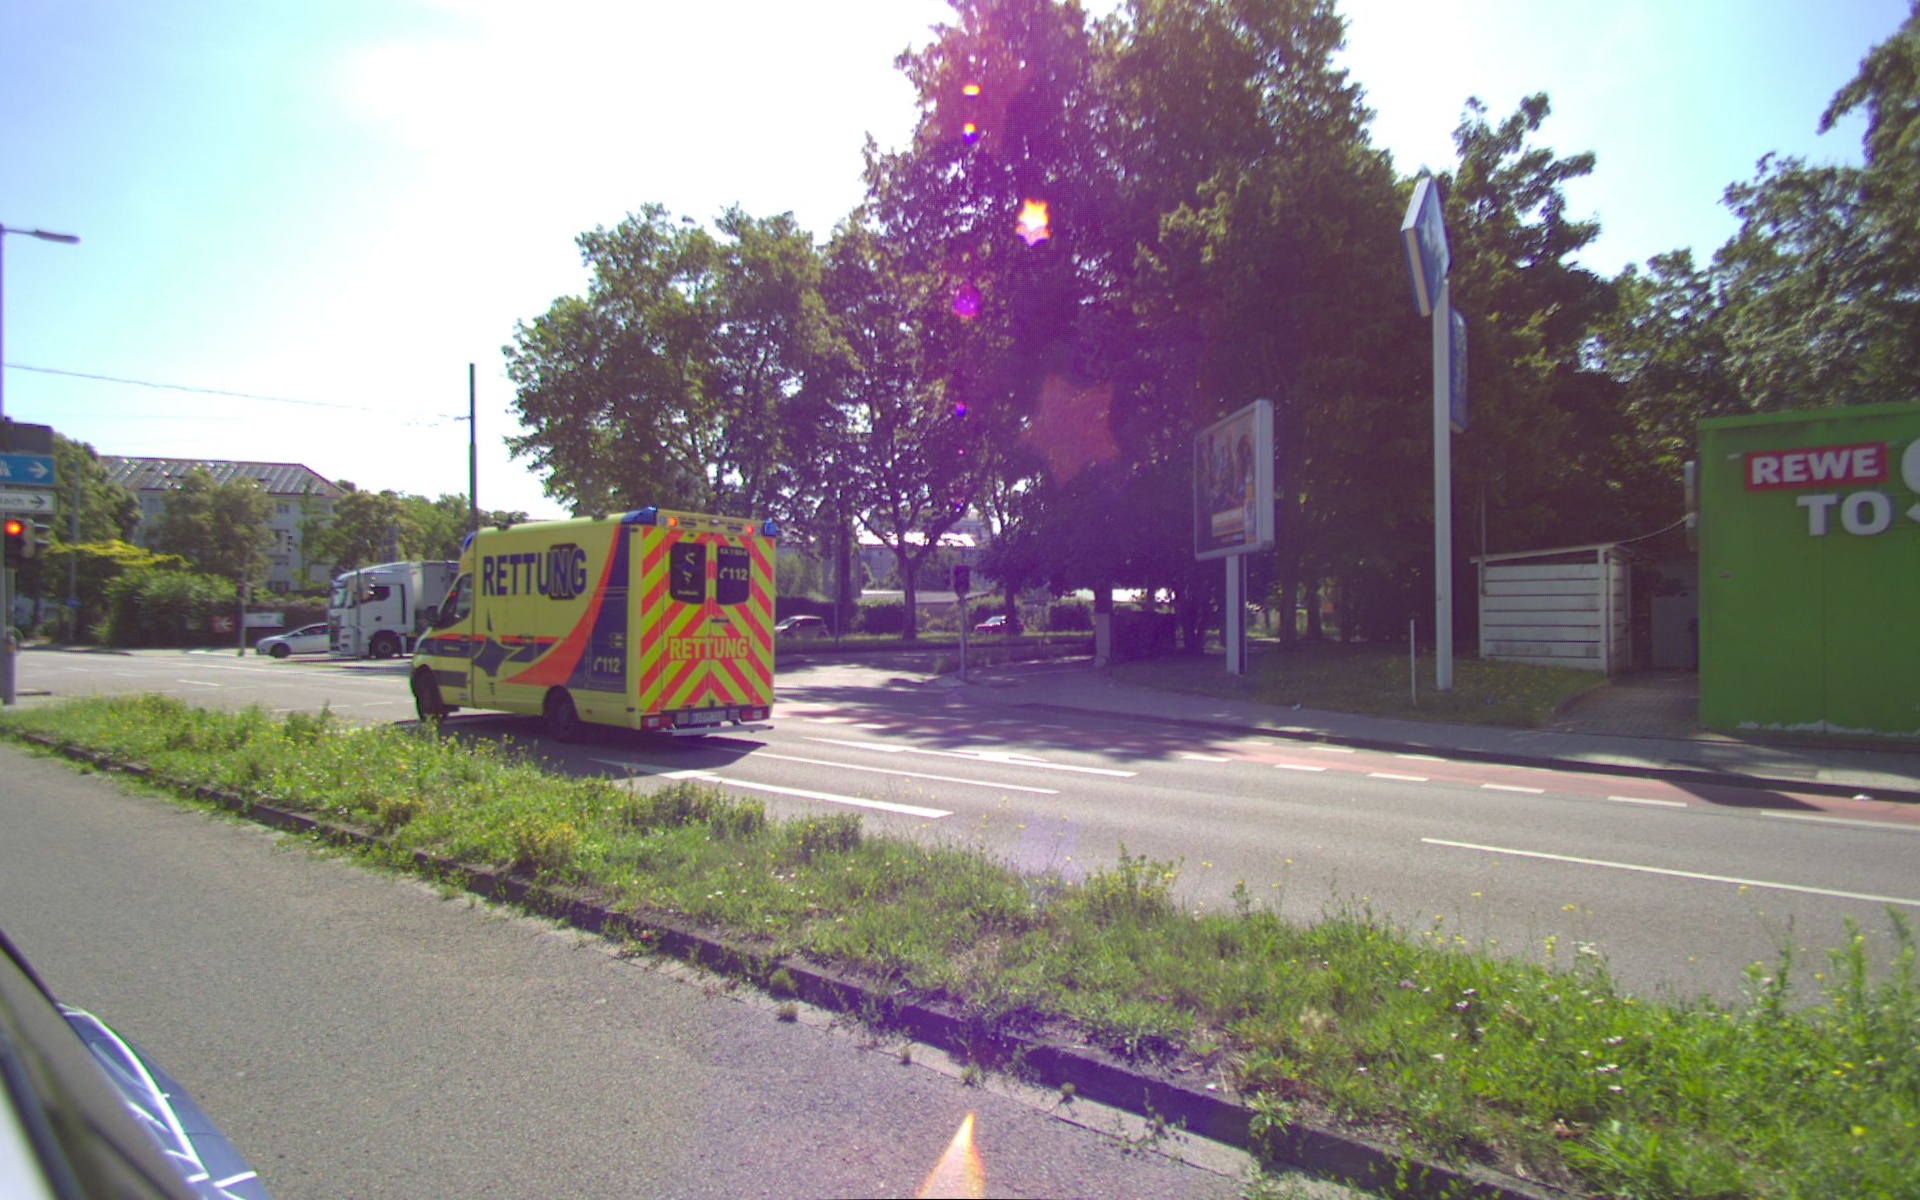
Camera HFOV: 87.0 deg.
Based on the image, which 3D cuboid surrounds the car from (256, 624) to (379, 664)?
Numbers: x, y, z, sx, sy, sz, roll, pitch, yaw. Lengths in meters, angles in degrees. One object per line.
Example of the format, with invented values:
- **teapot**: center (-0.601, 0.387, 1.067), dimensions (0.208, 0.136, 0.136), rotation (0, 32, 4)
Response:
- **car**: center (-27.309, 1.864, 43.177), dimensions (4.322, 1.522, 1.761), rotation (-1, -2, -30)

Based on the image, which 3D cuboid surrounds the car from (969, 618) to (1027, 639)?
- **car**: center (2.803, 2.037, 73.656), dimensions (4.307, 1.379, 1.757), rotation (0, -2, -44)

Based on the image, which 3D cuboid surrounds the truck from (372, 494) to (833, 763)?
- **truck**: center (-5.051, 0.372, 13.381), dimensions (7.352, 2.688, 2.307), rotation (-1, -2, 40)

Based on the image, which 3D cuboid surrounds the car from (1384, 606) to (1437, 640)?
- **car**: center (31.587, 1.583, 70.868), dimensions (2.000, 2.334, 4.593), rotation (-1, -2, 42)

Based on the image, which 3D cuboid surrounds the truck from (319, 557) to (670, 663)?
- **truck**: center (-19.851, 0.507, 44.778), dimensions (2.855, 4.038, 14.100), rotation (-1, -2, 43)
